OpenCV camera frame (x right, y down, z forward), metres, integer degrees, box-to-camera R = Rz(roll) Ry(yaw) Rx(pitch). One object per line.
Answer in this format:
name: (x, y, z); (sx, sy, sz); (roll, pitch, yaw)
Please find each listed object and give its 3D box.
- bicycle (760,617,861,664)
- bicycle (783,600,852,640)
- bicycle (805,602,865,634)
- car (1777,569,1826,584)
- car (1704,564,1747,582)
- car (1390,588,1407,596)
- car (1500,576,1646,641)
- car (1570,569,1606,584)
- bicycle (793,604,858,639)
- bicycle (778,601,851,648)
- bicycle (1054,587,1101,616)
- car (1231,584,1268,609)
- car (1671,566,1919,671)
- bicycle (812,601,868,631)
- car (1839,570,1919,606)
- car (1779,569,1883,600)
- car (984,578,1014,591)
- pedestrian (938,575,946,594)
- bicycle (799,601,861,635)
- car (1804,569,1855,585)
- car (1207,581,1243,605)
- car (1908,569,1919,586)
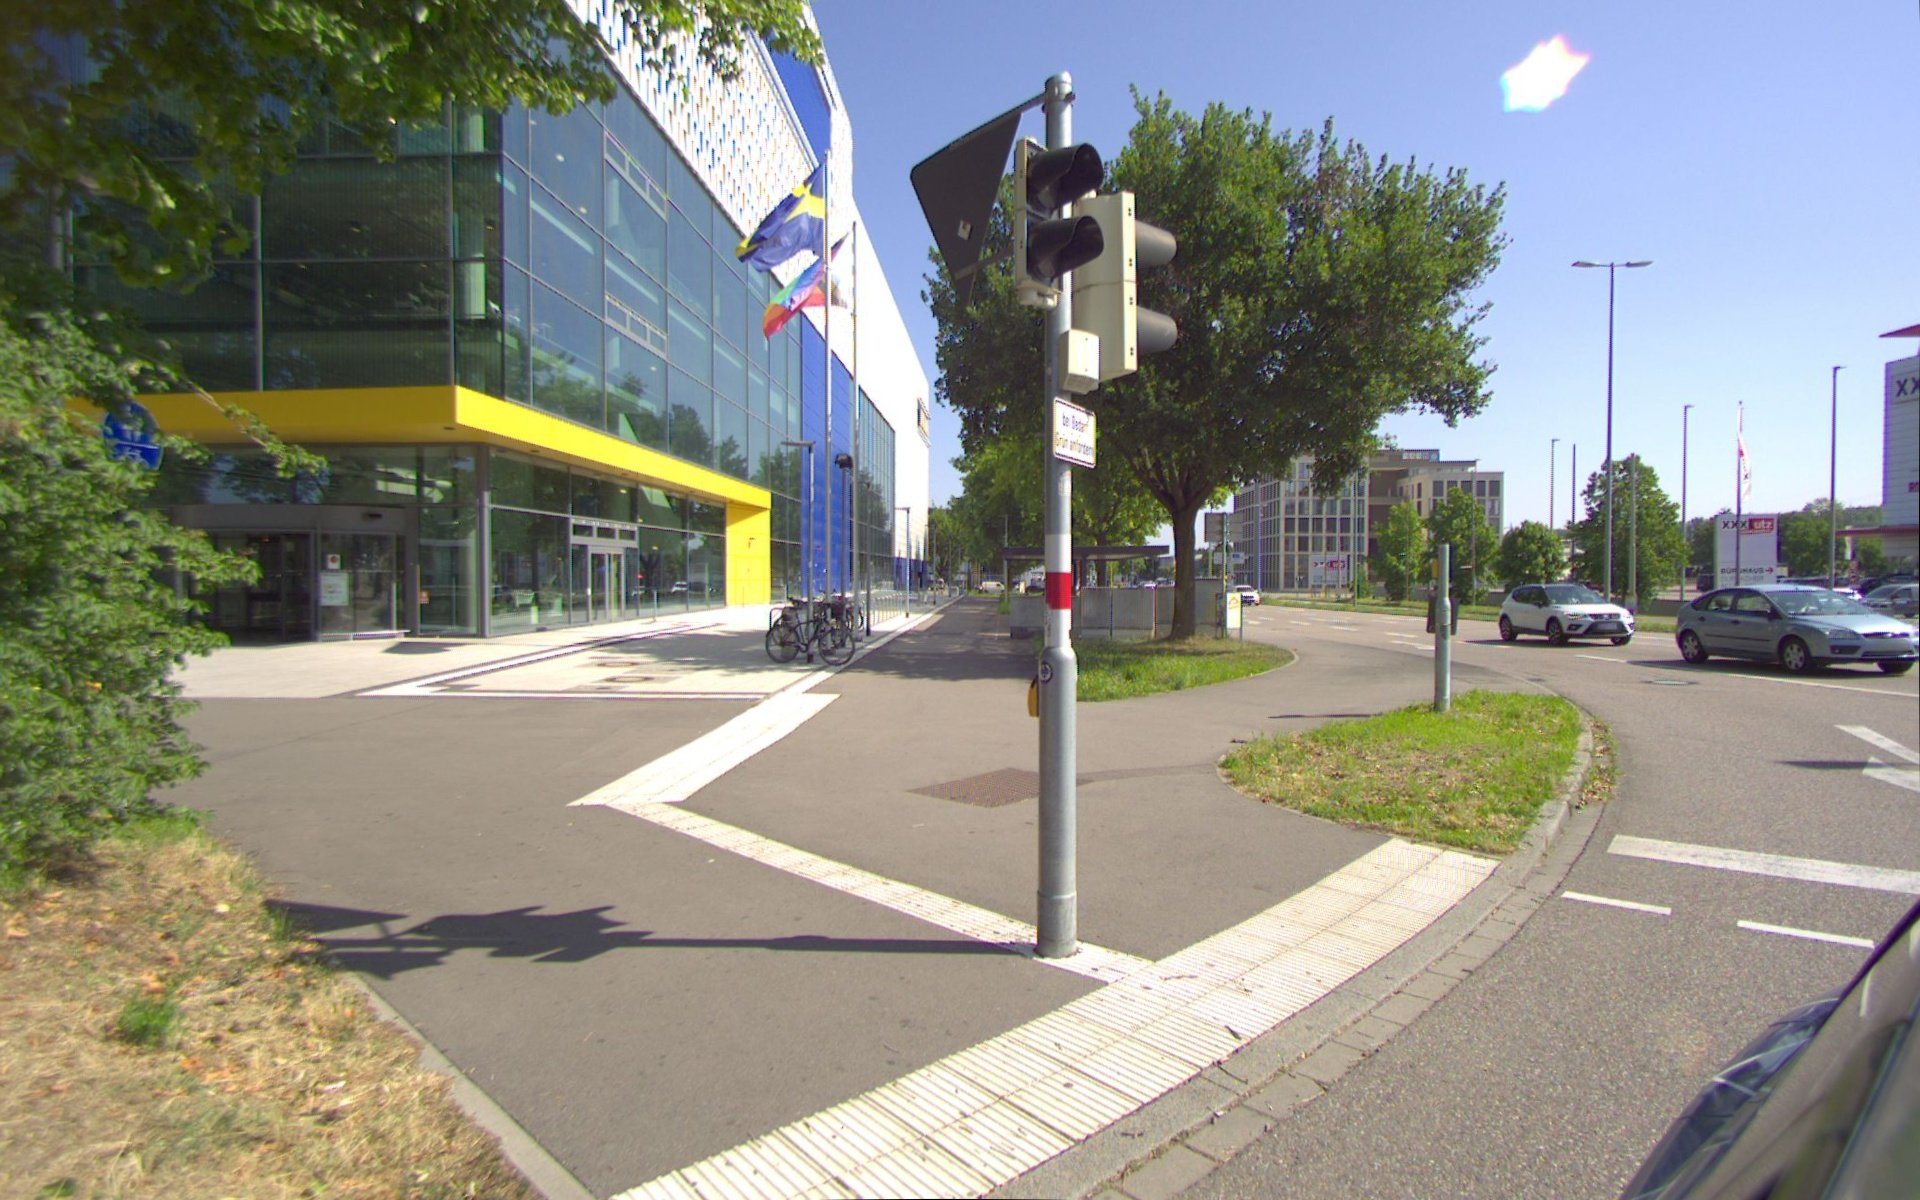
bicycle: (-2.785, 0.749, 18.857); (1.803, 0.854, 0.433); (-1, 0, 7)
bicycle: (-3.366, 0.466, 23.909); (1.540, 0.921, 0.433); (-1, 0, 7)
bicycle: (-3.390, 0.490, 27.449); (1.540, 0.854, 0.433); (-1, 0, 7)
car: (77.753, -2.152, 93.563); (3.166, 1.346, 1.515); (-1, 2, 4)
car: (78.203, -2.760, 103.399); (3.041, 1.780, 1.691); (-1, 2, 4)
car: (60.998, -1.137, 140.840); (1.907, 0.987, 0.889); (-1, 2, 2)
car: (15.641, 0.233, 26.049); (1.607, 1.517, 3.863); (-1, -1, 5)
car: (67.772, -2.559, 109.275); (2.725, 1.576, 1.772); (0, 0, 4)
bicycle: (-3.353, 0.541, 25.270); (1.540, 0.854, 0.433); (-1, 0, 7)
bicycle: (-3.258, 0.546, 22.696); (1.540, 1.007, 0.433); (-1, 0, 7)
bicycle: (4.457, 0.050, 38.371); (1.733, 1.110, 0.451); (0, 0, 5)
car: (22.973, -0.295, 80.424); (1.991, 1.860, 4.308); (-1, 2, 5)
car: (14.889, 0.261, 17.959); (1.680, 1.593, 4.171); (-2, 1, 3)
bicycle: (-3.423, 0.455, 28.977); (1.540, 0.854, 0.433); (-1, 0, 7)
car: (50.037, -0.646, 54.057); (4.347, 1.865, 1.944); (0, 1, 4)
car: (50.782, -0.904, 59.052); (4.346, 1.647, 1.871); (-2, 2, 3)
car: (6.523, -2.589, 169.375); (4.909, 2.032, 1.740); (0, 2, 3)
pedestrian: (-1.557, -1.345, 87.296); (0.677, 1.632, 0.771); (0, 0, 1)
bicycle: (-3.400, 0.473, 26.478); (1.540, 0.854, 0.433); (-1, 0, 7)
car: (78.023, -2.045, 90.811); (3.166, 1.346, 1.515); (-1, 2, 4)
car: (18.254, -0.491, 69.787); (1.741, 1.482, 4.233); (-1, 2, 6)
car: (76.389, -1.768, 79.017); (3.041, 1.346, 1.703); (-1, 2, 4)
